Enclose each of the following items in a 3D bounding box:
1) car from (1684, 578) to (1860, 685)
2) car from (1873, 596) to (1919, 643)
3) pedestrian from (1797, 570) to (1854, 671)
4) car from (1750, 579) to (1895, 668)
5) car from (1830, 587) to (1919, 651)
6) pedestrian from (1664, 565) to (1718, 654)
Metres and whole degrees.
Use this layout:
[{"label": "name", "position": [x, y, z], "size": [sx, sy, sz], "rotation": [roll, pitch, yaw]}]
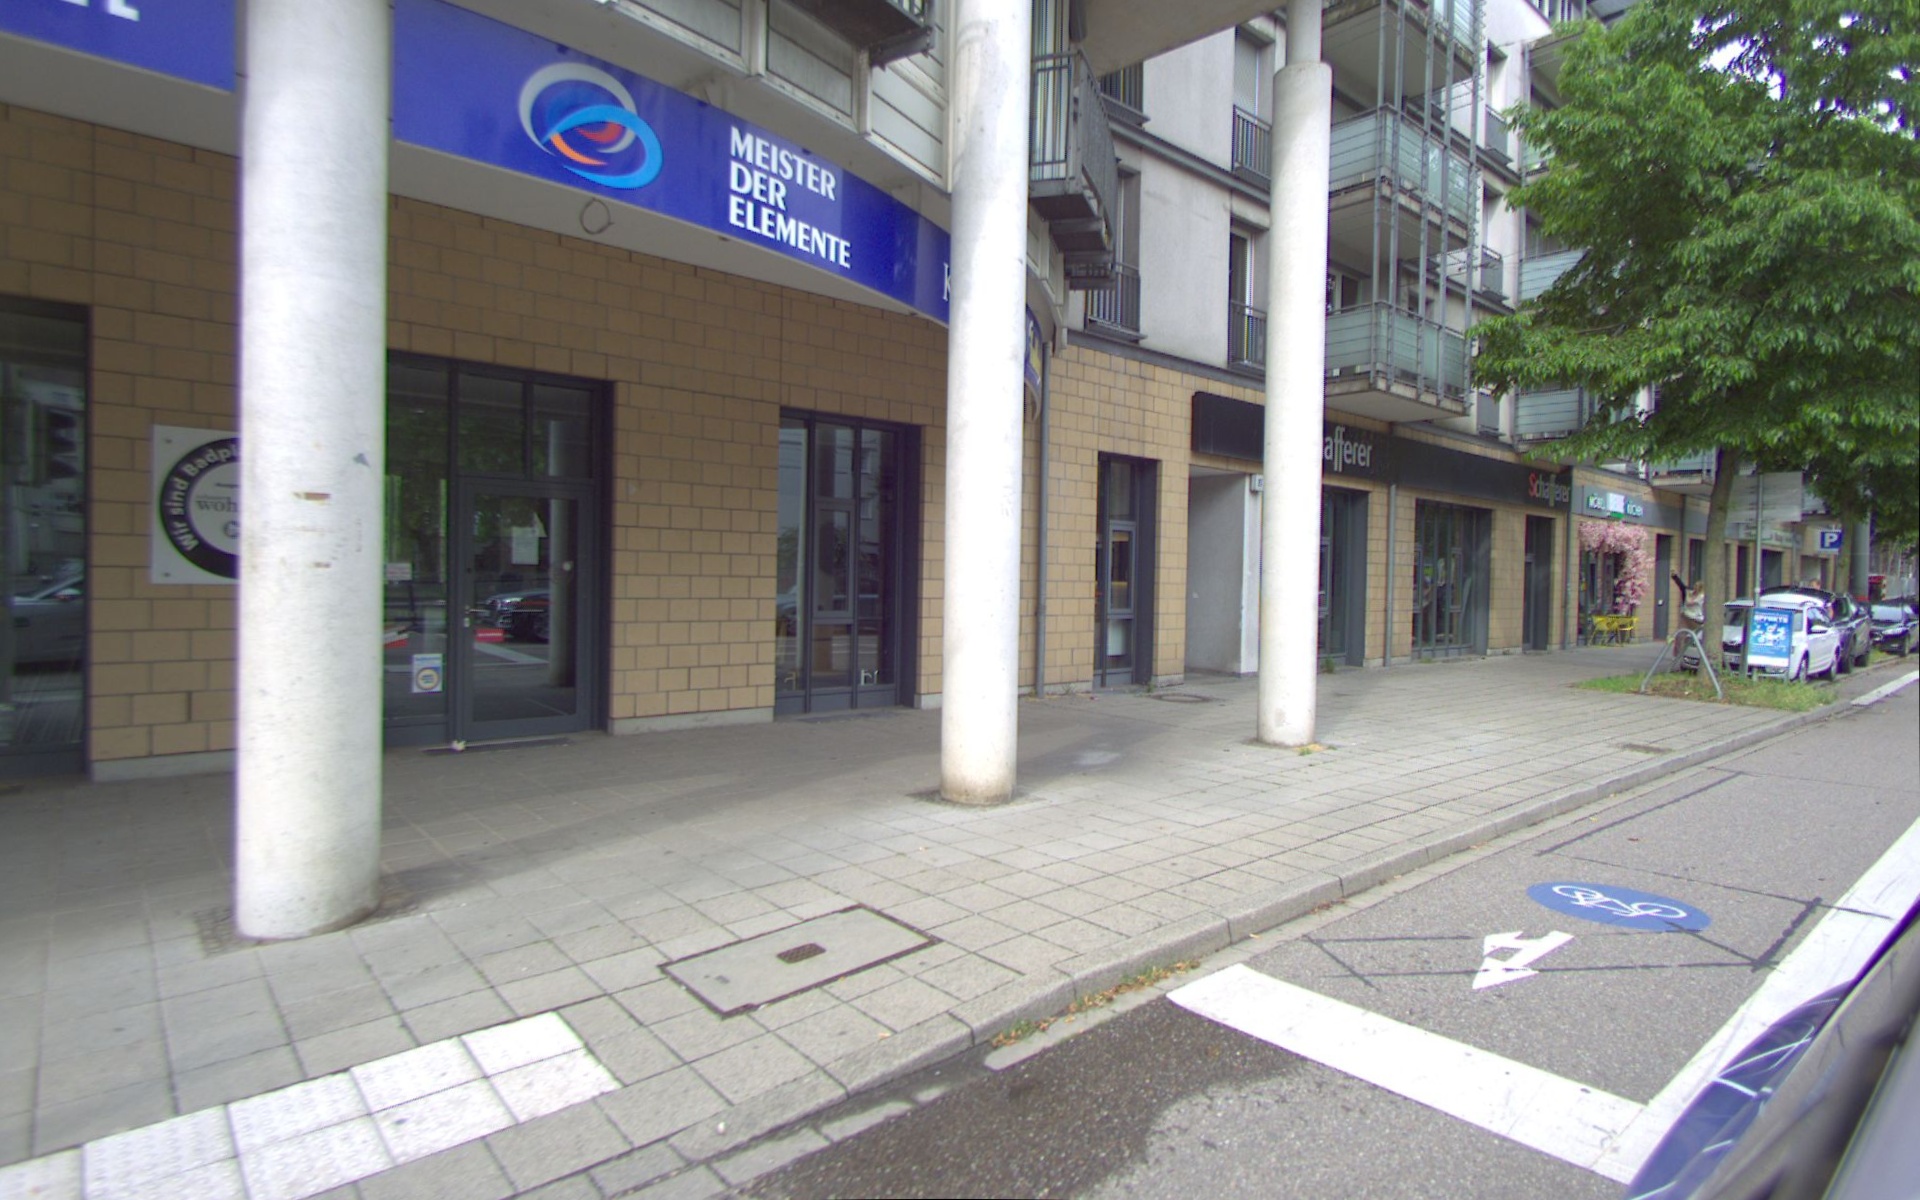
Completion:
[{"label": "car", "position": [15.044, 0.506, 18.690], "size": [4.031, 1.682, 1.730], "rotation": [0, 4, -41]}, {"label": "car", "position": [31.264, 0.619, 32.984], "size": [3.748, 1.400, 1.730], "rotation": [0, 3, -41]}, {"label": "pedestrian", "position": [17.096, 0.391, 19.995], "size": [0.630, 1.958, 0.655], "rotation": [0, 0, -25]}, {"label": "car", "position": [18.648, 0.455, 21.835], "size": [3.873, 1.682, 1.730], "rotation": [0, 3, -41]}, {"label": "car", "position": [25.549, 0.484, 27.931], "size": [3.873, 1.564, 1.684], "rotation": [0, 3, -41]}, {"label": "pedestrian", "position": [15.378, 0.187, 21.289], "size": [0.825, 1.828, 0.744], "rotation": [0, 0, -41]}]
